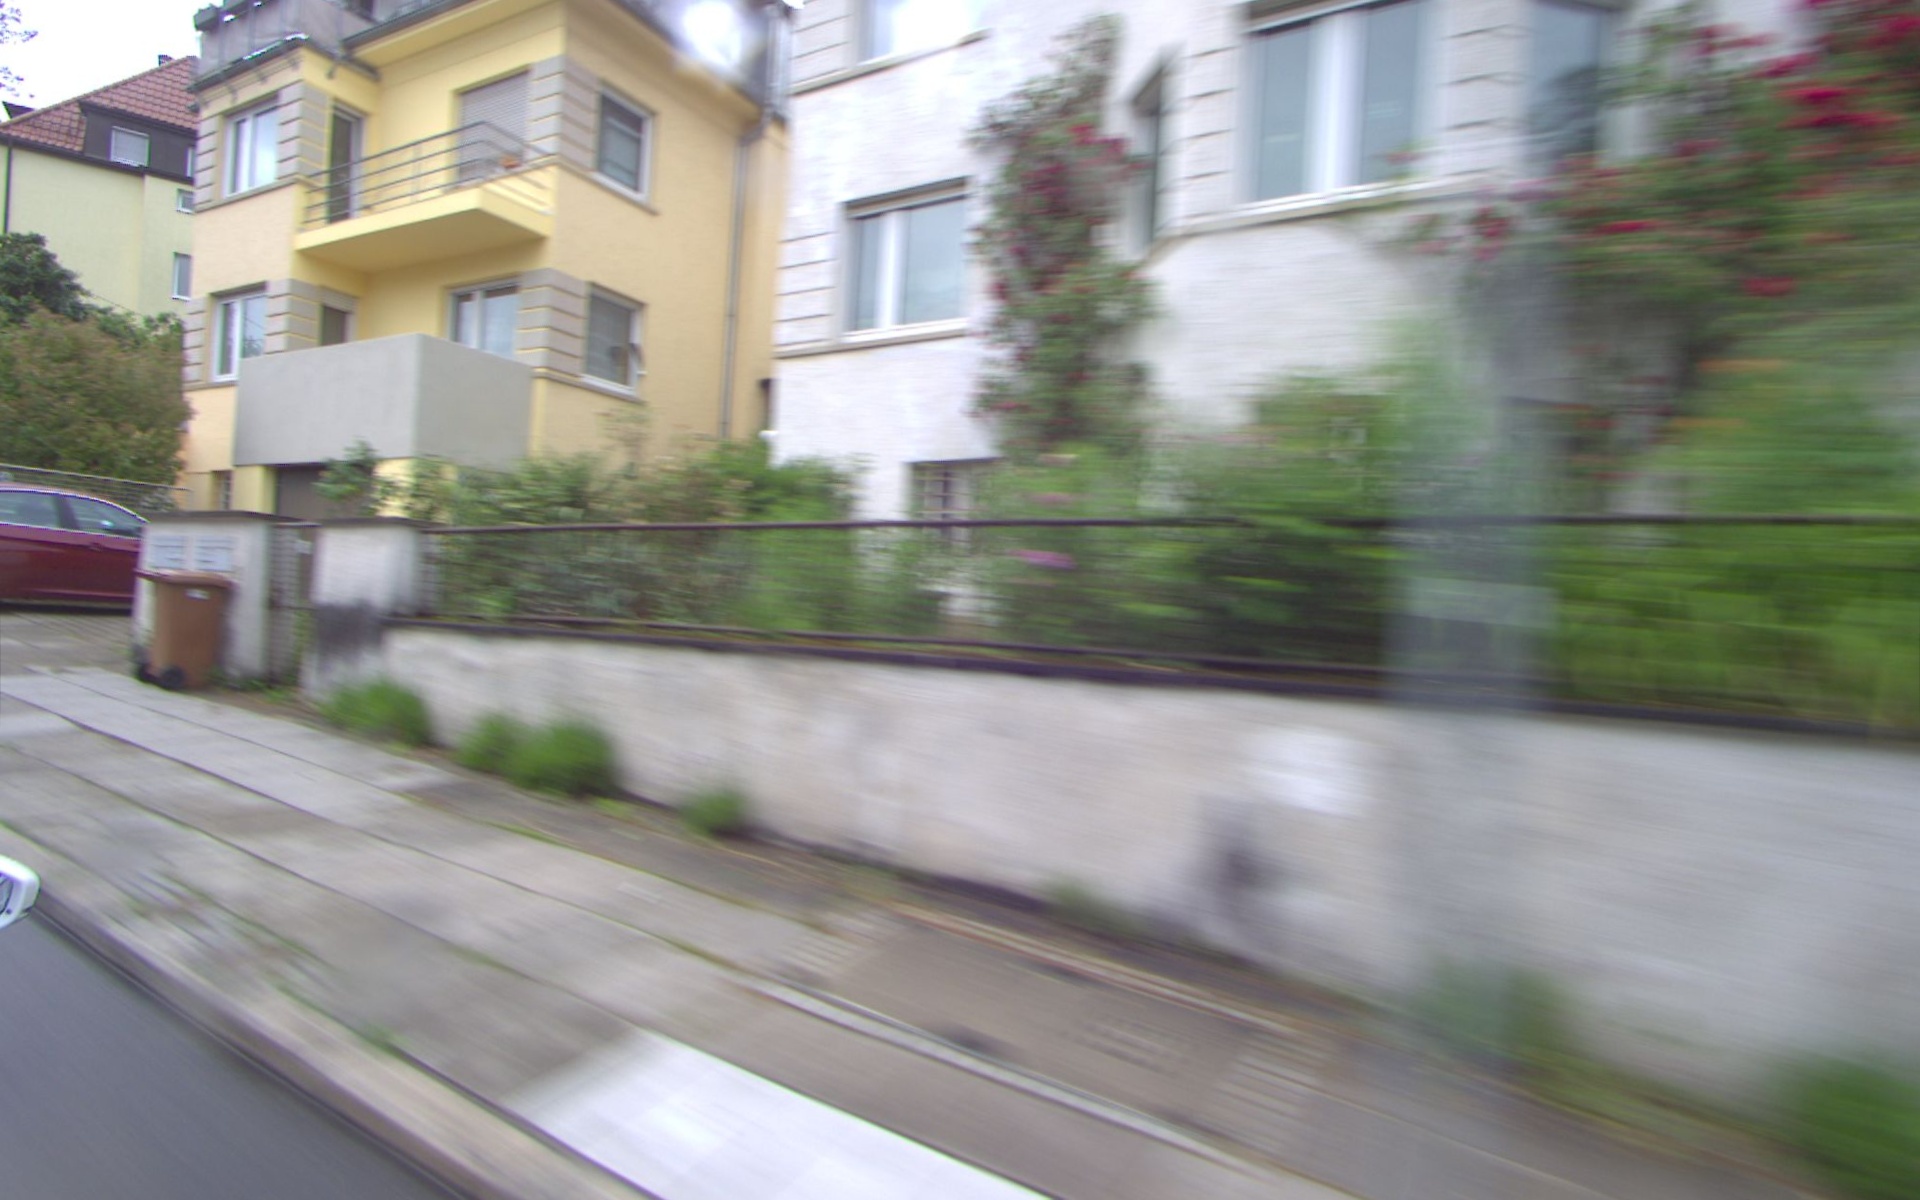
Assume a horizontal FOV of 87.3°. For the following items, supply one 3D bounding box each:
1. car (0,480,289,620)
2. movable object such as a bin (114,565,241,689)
[{"bbox_3d":[-10.662,-0.617,11.857,1.805,1.425,4.168,8,3,34],"label":"car"},{"bbox_3d":[-6.244,0.224,8.039,0.517,0.911,0.570,7,0,28],"label":"movable object such as a bin"}]
